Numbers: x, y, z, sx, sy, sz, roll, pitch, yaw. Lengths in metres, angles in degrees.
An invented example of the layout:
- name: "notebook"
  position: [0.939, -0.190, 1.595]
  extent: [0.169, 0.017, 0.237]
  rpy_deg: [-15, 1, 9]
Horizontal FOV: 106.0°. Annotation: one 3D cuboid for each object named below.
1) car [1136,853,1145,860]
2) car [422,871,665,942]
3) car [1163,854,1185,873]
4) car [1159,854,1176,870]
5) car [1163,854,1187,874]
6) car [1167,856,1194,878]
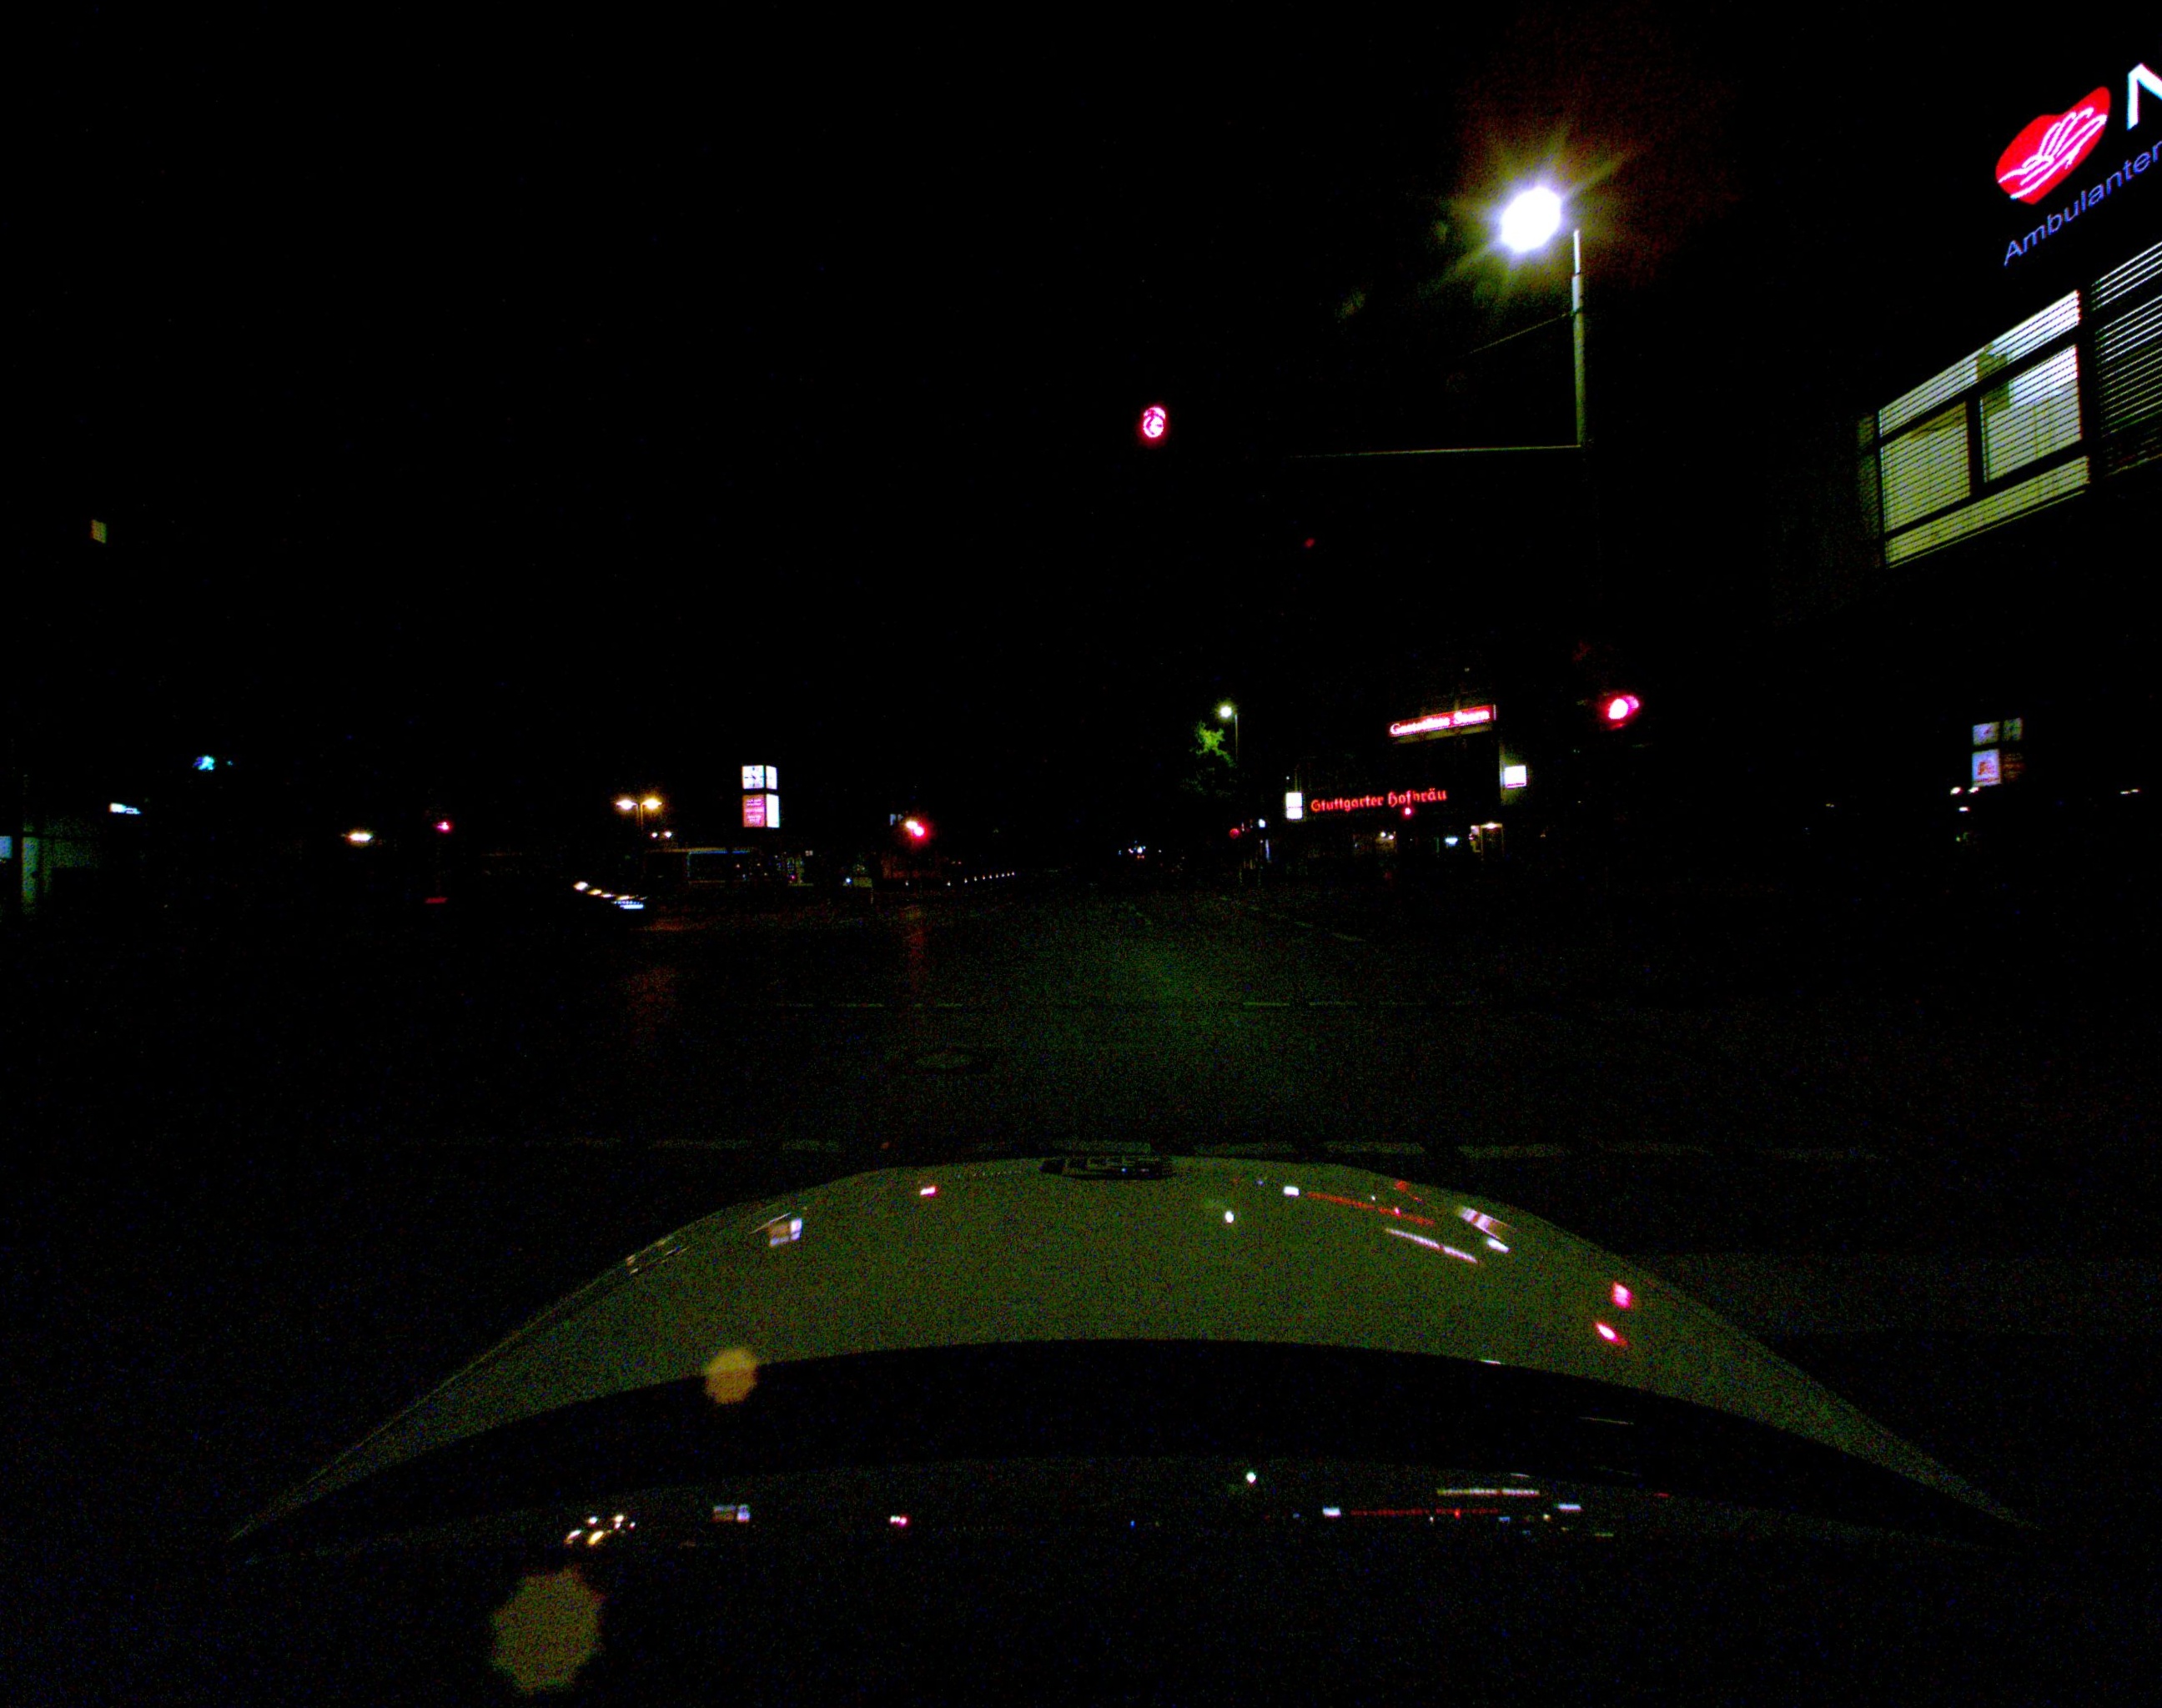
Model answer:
- name: "car"
  position: [14.804, 0.560, 201.866]
  extent: [2.216, 1.651, 4.005]
  rpy_deg: [-1, 0, 5]
- name: "car"
  position: [-12.270, 1.149, 18.927]
  extent: [4.309, 1.454, 1.870]
  rpy_deg: [0, -1, -15]
- name: "car"
  position: [8.681, 0.883, 76.430]
  extent: [1.868, 1.729, 4.005]
  rpy_deg: [-2, -1, 5]
- name: "car"
  position: [10.048, 0.931, 94.474]
  extent: [1.868, 1.683, 4.005]
  rpy_deg: [-2, -1, 5]
- name: "car"
  position: [7.886, 0.836, 68.774]
  extent: [1.868, 1.615, 4.005]
  rpy_deg: [-2, -1, 5]
- name: "car"
  position: [7.719, 0.964, 63.495]
  extent: [1.868, 1.615, 4.005]
  rpy_deg: [-2, -1, 5]
